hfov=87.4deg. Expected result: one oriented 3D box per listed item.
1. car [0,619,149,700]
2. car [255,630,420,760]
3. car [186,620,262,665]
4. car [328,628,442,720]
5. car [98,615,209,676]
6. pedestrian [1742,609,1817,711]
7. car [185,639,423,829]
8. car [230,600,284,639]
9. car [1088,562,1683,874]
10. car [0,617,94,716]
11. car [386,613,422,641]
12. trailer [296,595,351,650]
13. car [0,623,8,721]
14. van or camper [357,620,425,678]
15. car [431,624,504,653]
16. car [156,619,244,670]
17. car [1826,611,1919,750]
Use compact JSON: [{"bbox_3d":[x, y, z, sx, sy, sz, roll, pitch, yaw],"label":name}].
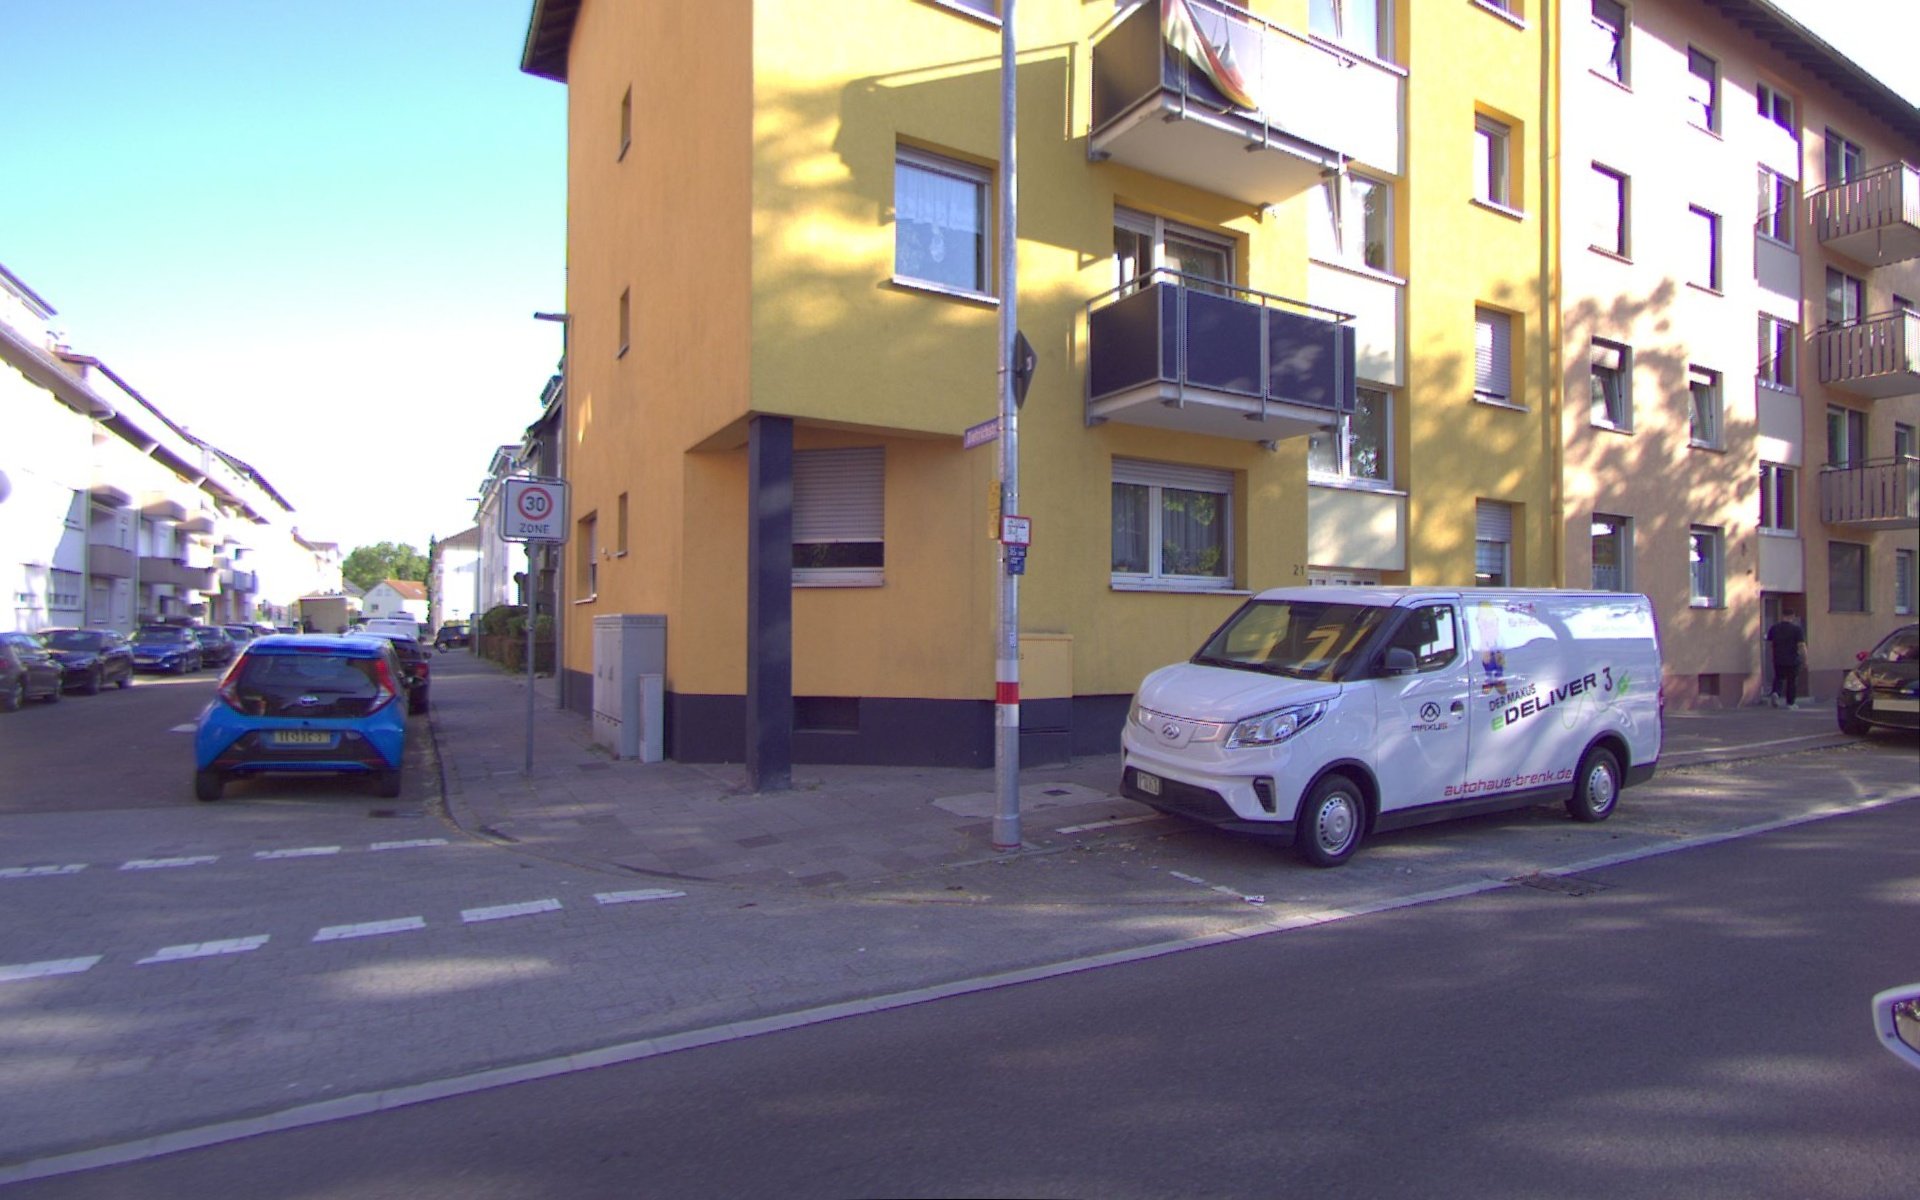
[{"bbox_3d":[-20.726,1.339,23.459,1.895,1.720,4.278,1,-2,-27],"label":"car"},{"bbox_3d":[-8.738,1.230,14.398,1.727,1.587,3.974,1,-2,-28],"label":"car"},{"bbox_3d":[-31.237,1.799,42.735,1.895,1.791,4.278,1,-2,-27],"label":"car"},{"bbox_3d":[-11.076,1.349,19.516,1.727,1.587,3.974,1,-2,-28],"label":"car"},{"bbox_3d":[-25.525,1.434,31.956,1.895,1.791,4.278,1,-2,-27],"label":"car"},{"bbox_3d":[15.020,1.083,18.421,0.922,1.792,0.762,1,1,-30],"label":"pedestrian"},{"bbox_3d":[-6.654,1.212,10.567,1.727,1.587,3.769,1,-2,-28],"label":"car"},{"bbox_3d":[-39.397,1.080,56.402,1.976,2.040,3.970,3,-2,-29],"label":"car"},{"bbox_3d":[3.643,0.778,8.247,5.145,1.932,1.726,1,-1,-29],"label":"car"},{"bbox_3d":[-18.365,1.205,19.088,1.895,1.720,4.278,1,-2,-27],"label":"car"},{"bbox_3d":[-39.199,1.866,70.801,1.978,1.876,4.659,3,-2,-31],"label":"car"},{"bbox_3d":[-35.988,1.233,56.896,2.213,2.932,5.098,3,-1,-29],"label":"trailer"},{"bbox_3d":[-16.049,1.134,14.665,1.895,1.647,4.433,1,-2,-27],"label":"car"},{"bbox_3d":[-18.916,1.596,33.470,1.848,1.794,4.259,1,-2,-29],"label":"van or camper"},{"bbox_3d":[-28.183,2.196,57.603,3.726,1.587,1.738,1,-2,-25],"label":"car"},{"bbox_3d":[-28.370,1.632,37.634,1.895,1.791,4.278,1,-2,-27],"label":"car"},{"bbox_3d":[14.512,1.105,14.497,4.497,1.811,1.736,1,0,-31],"label":"car"}]
